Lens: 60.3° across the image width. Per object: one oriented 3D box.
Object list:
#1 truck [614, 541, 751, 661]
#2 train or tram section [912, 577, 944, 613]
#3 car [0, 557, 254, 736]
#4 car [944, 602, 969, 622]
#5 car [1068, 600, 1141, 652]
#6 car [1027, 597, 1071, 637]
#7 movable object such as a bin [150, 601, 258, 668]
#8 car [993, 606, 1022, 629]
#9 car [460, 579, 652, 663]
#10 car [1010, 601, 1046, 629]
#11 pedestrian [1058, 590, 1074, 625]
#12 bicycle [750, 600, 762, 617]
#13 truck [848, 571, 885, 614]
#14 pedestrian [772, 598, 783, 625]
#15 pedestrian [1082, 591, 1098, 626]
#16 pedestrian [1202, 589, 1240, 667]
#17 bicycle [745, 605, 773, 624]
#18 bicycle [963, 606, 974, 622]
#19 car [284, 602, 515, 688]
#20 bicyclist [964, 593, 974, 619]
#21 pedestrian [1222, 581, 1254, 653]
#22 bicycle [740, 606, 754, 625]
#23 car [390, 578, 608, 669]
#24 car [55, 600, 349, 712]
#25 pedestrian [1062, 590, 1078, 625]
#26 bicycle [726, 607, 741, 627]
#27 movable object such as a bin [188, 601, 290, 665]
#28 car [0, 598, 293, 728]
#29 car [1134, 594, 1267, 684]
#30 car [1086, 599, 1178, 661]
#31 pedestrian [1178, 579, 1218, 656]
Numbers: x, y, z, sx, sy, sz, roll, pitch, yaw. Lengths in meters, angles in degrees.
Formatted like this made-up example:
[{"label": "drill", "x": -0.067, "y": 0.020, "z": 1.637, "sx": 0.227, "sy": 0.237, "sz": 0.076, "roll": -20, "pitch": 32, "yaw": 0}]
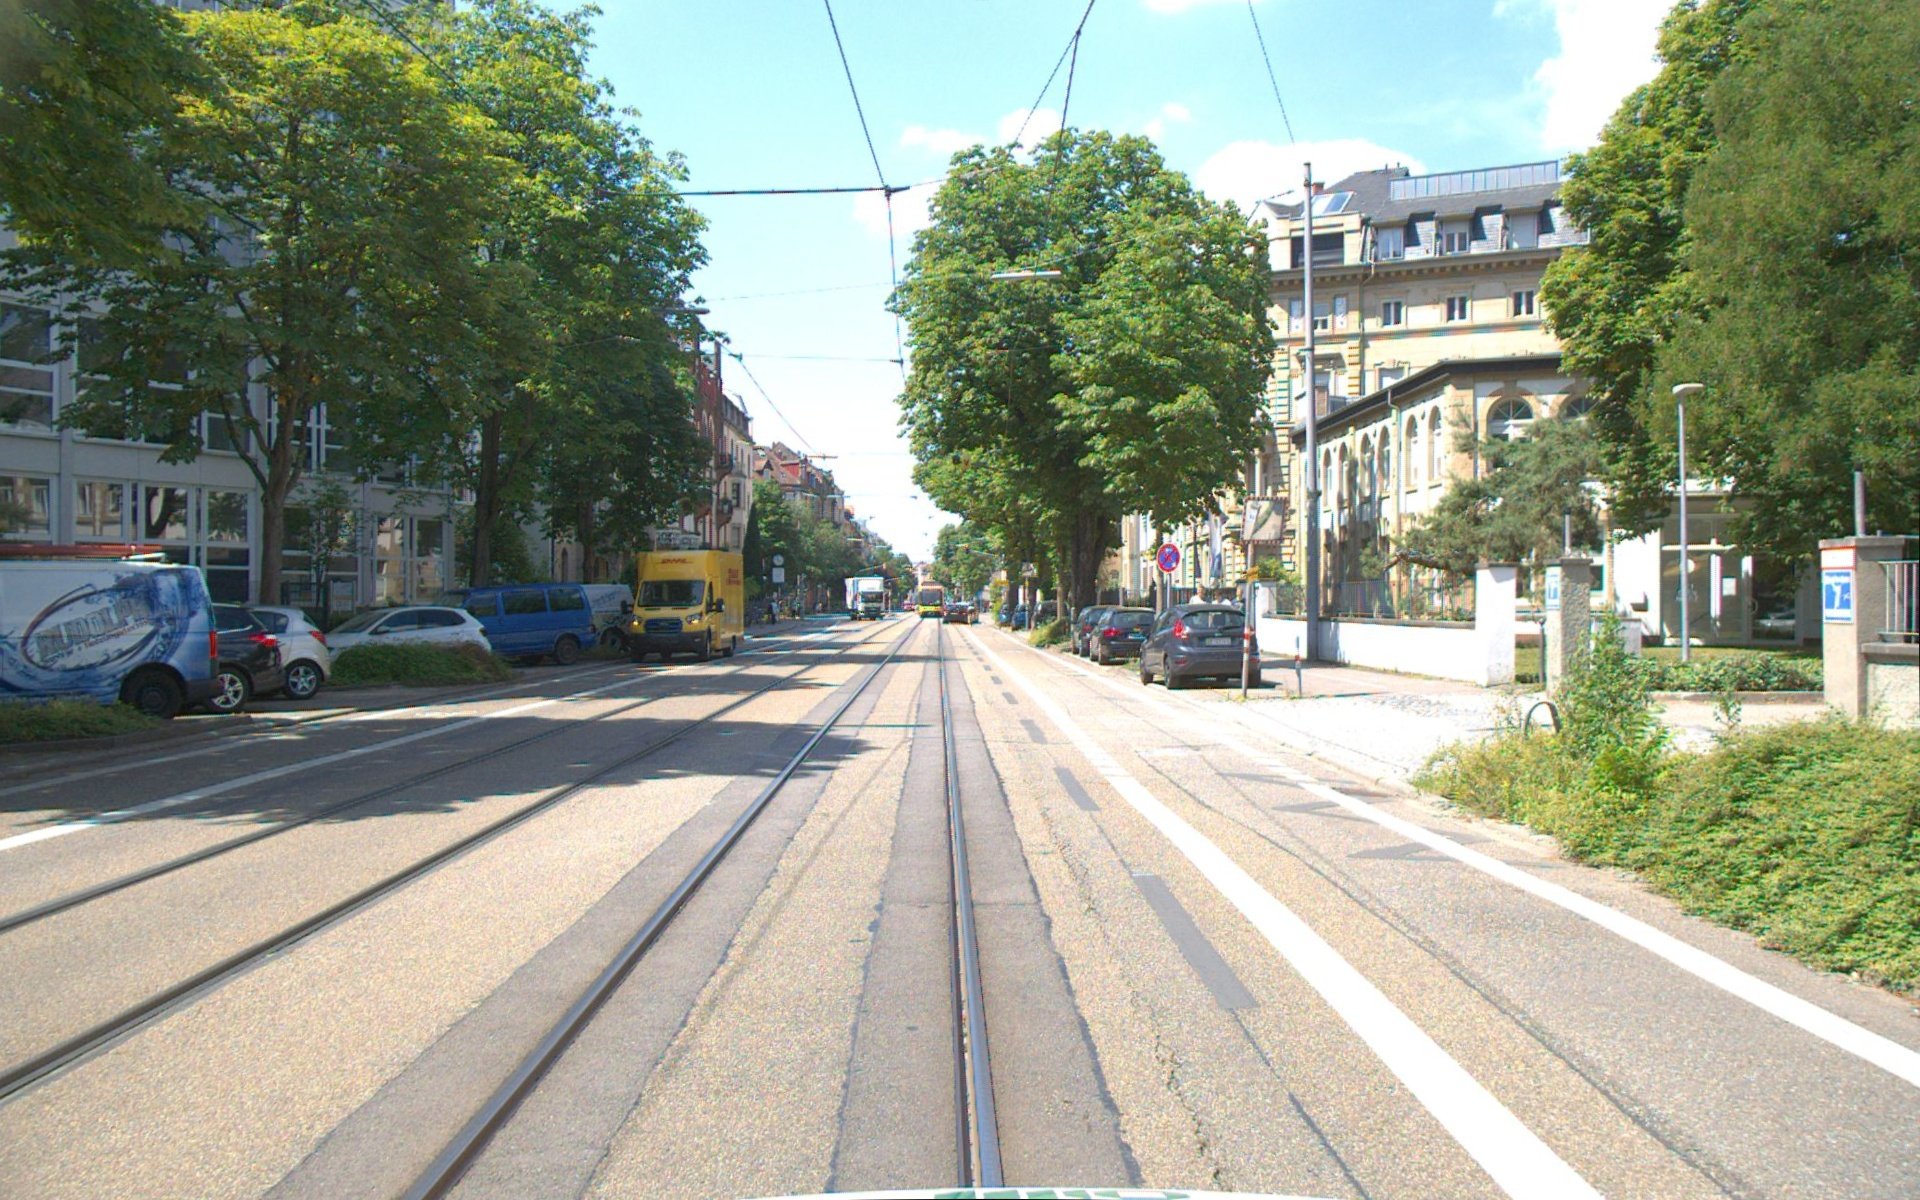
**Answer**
[{"label": "truck", "x": -7.301, "y": 0.003, "z": 44.415, "sx": 2.312, "sy": 2.902, "sz": 7.378, "roll": -1, "pitch": 0, "yaw": 1}, {"label": "train or tram section", "x": -3.138, "y": -0.504, "z": 165.116, "sx": 2.973, "sy": 3.498, "sz": 11.969, "roll": 0, "pitch": 0, "yaw": 0}, {"label": "car", "x": -10.966, "y": 0.530, "z": 19.219, "sx": 1.887, "sy": 1.968, "sz": 4.730, "roll": -2, "pitch": 0, "yaw": 41}, {"label": "car", "x": -0.236, "y": 0.841, "z": 116.474, "sx": 1.745, "sy": 1.369, "sz": 3.415, "roll": 0, "pitch": 0, "yaw": -1}, {"label": "car", "x": 4.252, "y": 0.746, "z": 49.058, "sx": 1.676, "sy": 1.448, "sz": 4.242, "roll": -1, "pitch": 0, "yaw": -2}, {"label": "car", "x": 3.801, "y": 0.729, "z": 71.231, "sx": 1.560, "sy": 1.645, "sz": 3.906, "roll": -1, "pitch": 0, "yaw": -2}, {"label": "movable object such as a bin", "x": -16.706, "y": 0.753, "z": 36.612, "sx": 1.726, "sy": 1.434, "sz": 1.424, "roll": -1, "pitch": 0, "yaw": -1}, {"label": "car", "x": 3.124, "y": 1.121, "z": 108.677, "sx": 1.676, "sy": 1.448, "sz": 4.308, "roll": -1, "pitch": 0, "yaw": -2}, {"label": "car", "x": -11.019, "y": 0.542, "z": 45.289, "sx": 4.718, "sy": 2.098, "sz": 1.997, "roll": -2, "pitch": 0, "yaw": -40}, {"label": "car", "x": 3.715, "y": 0.823, "z": 90.560, "sx": 1.676, "sy": 1.448, "sz": 4.308, "roll": -1, "pitch": 0, "yaw": -2}, {"label": "pedestrian", "x": 5.679, "y": 0.410, "z": 88.873, "sx": 0.792, "sy": 1.892, "sz": 0.576, "roll": 0, "pitch": -2, "yaw": -3}, {"label": "bicycle", "x": -12.247, "y": 0.529, "z": 99.277, "sx": 0.532, "sy": 0.986, "sz": 1.780, "roll": 1, "pitch": 0, "yaw": 0}, {"label": "truck", "x": -8.149, "y": -0.638, "z": 144.601, "sx": 2.880, "sy": 3.612, "sz": 8.451, "roll": 0, "pitch": 0, "yaw": -1}, {"label": "pedestrian", "x": -11.006, "y": 0.693, "z": 99.937, "sx": 0.561, "sy": 1.644, "sz": 0.816, "roll": 0, "pitch": 0, "yaw": 0}, {"label": "pedestrian", "x": 7.054, "y": 0.450, "z": 89.469, "sx": 0.792, "sy": 1.892, "sz": 0.623, "roll": 0, "pitch": -2, "yaw": -3}, {"label": "pedestrian", "x": 6.374, "y": 0.675, "z": 40.429, "sx": 0.570, "sy": 1.892, "sz": 0.717, "roll": -1, "pitch": 0, "yaw": -37}, {"label": "bicycle", "x": -10.905, "y": 0.789, "z": 89.753, "sx": 0.532, "sy": 0.986, "sz": 1.778, "roll": 0, "pitch": -2, "yaw": 29}, {"label": "bicycle", "x": 0.558, "y": 0.871, "z": 104.898, "sx": 0.626, "sy": 0.986, "sz": 1.780, "roll": 1, "pitch": -2, "yaw": -2}, {"label": "car", "x": -10.985, "y": 0.862, "z": 32.602, "sx": 1.730, "sy": 1.458, "sz": 3.978, "roll": -3, "pitch": -1, "yaw": 41}, {"label": "bicyclist", "x": 0.567, "y": 0.397, "z": 104.959, "sx": 0.609, "sy": 1.644, "sz": 0.864, "roll": 1, "pitch": -2, "yaw": -3}, {"label": "pedestrian", "x": 6.952, "y": 0.432, "z": 41.385, "sx": 0.473, "sy": 1.768, "sz": 0.612, "roll": -1, "pitch": -1, "yaw": -37}, {"label": "bicycle", "x": -11.997, "y": 0.872, "z": 93.234, "sx": 0.532, "sy": 0.986, "sz": 1.781, "roll": 1, "pitch": 0, "yaw": 0}, {"label": "car", "x": -10.842, "y": 0.515, "z": 39.174, "sx": 1.815, "sy": 1.989, "sz": 4.701, "roll": -1, "pitch": 0, "yaw": 43}, {"label": "car", "x": -11.459, "y": 0.806, "z": 25.132, "sx": 1.732, "sy": 1.493, "sz": 3.685, "roll": -2, "pitch": 0, "yaw": 43}, {"label": "pedestrian", "x": 6.024, "y": 0.422, "z": 90.467, "sx": 0.792, "sy": 1.892, "sz": 0.623, "roll": 0, "pitch": -2, "yaw": -3}, {"label": "bicycle", "x": -11.896, "y": 0.880, "z": 86.984, "sx": 0.532, "sy": 0.986, "sz": 1.990, "roll": 1, "pitch": 1, "yaw": 0}, {"label": "movable object such as a bin", "x": -16.583, "y": 0.748, "z": 38.106, "sx": 1.726, "sy": 1.434, "sz": 1.424, "roll": -1, "pitch": 0, "yaw": -1}, {"label": "car", "x": -11.199, "y": 0.796, "z": 22.315, "sx": 1.786, "sy": 1.533, "sz": 3.686, "roll": -2, "pitch": 0, "yaw": 43}, {"label": "car", "x": 4.344, "y": 0.685, "z": 30.394, "sx": 1.607, "sy": 1.511, "sz": 3.869, "roll": -1, "pitch": 0, "yaw": -4}, {"label": "car", "x": 4.380, "y": 0.755, "z": 42.690, "sx": 1.838, "sy": 1.480, "sz": 4.527, "roll": -1, "pitch": 0, "yaw": -1}, {"label": "pedestrian", "x": 5.942, "y": 0.431, "z": 41.222, "sx": 0.570, "sy": 1.892, "sz": 0.800, "roll": -1, "pitch": 0, "yaw": -36}]
